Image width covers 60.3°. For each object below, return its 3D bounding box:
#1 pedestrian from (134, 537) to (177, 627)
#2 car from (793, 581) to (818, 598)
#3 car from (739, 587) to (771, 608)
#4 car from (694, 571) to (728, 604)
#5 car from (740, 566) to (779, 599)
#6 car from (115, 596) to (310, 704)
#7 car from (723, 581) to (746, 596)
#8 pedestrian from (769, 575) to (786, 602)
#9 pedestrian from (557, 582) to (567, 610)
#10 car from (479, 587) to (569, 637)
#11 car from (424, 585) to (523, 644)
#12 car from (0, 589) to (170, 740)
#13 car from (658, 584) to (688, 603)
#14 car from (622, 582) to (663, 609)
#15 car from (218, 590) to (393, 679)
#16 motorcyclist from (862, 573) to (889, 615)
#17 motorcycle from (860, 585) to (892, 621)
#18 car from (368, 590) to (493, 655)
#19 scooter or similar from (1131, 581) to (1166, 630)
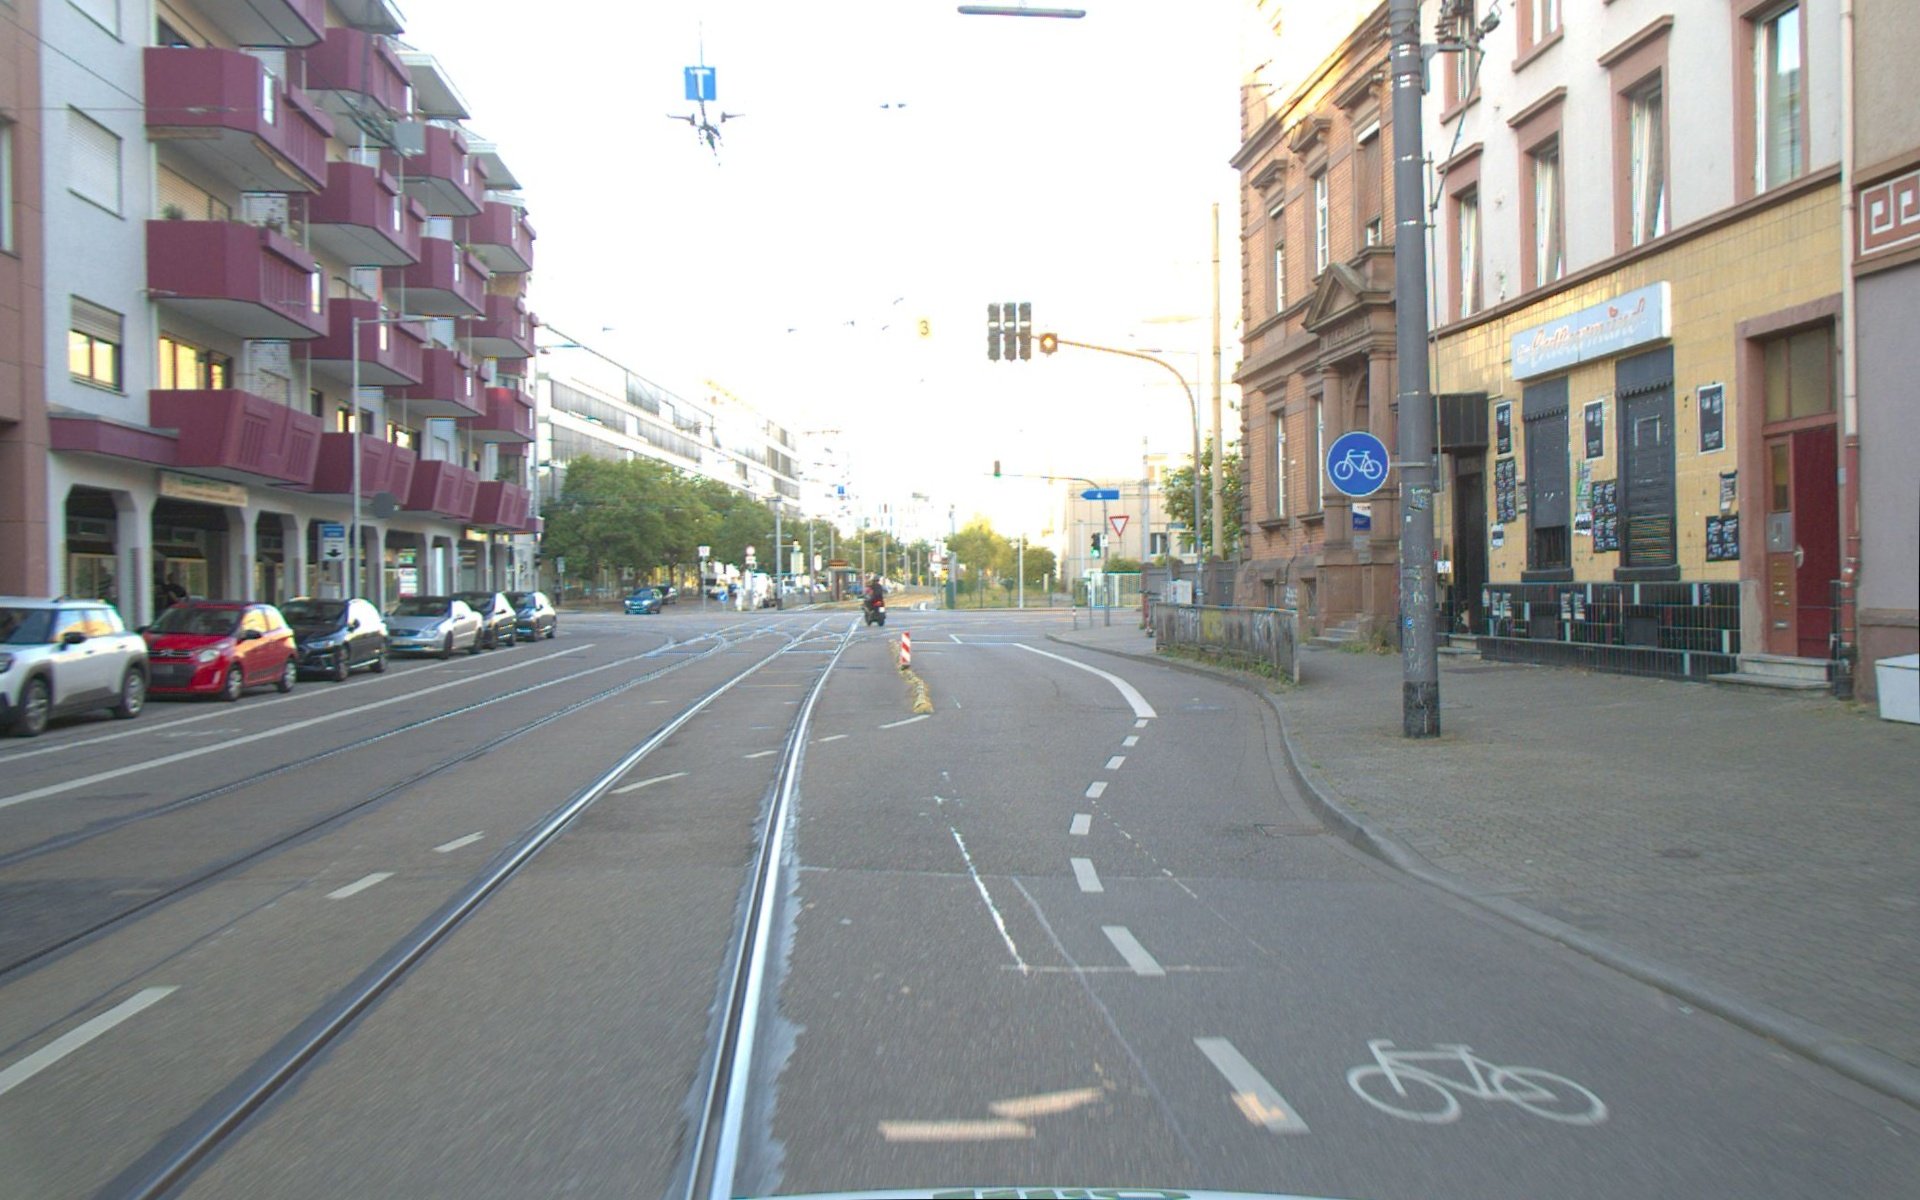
[{"bbox_3d":[-17.058,-0.380,35.084,0.601,1.905,0.528,-1,0,16],"label":"pedestrian"},{"bbox_3d":[-13.798,-0.930,147.664,1.647,1.464,4.127,-1,1,2],"label":"car"},{"bbox_3d":[-15.165,-0.190,122.452,1.647,1.464,4.127,-1,1,2],"label":"car"},{"bbox_3d":[-24.661,-1.286,164.098,2.155,3.207,6.145,-1,1,3],"label":"car"},{"bbox_3d":[-15.563,-1.368,128.449,2.411,2.526,5.807,-1,1,-1],"label":"car"},{"bbox_3d":[-11.478,0.723,25.628,1.579,1.505,3.477,1,0,-3],"label":"car"},{"bbox_3d":[-23.619,-1.252,173.428,1.647,1.528,4.241,-1,1,3],"label":"car"},{"bbox_3d":[-14.231,-0.905,128.987,1.026,2.066,0.976,-1,1,-25],"label":"pedestrian"},{"bbox_3d":[-28.810,-0.303,119.681,0.649,1.956,0.547,-1,1,-9],"label":"pedestrian"},{"bbox_3d":[-13.533,0.336,51.605,1.815,1.482,5.082,0,1,-4],"label":"car"},{"bbox_3d":[-13.390,0.358,45.734,1.753,1.534,4.197,1,0,-4],"label":"car"},{"bbox_3d":[-11.182,0.679,19.780,1.683,1.583,4.200,1,0,-4],"label":"car"},{"bbox_3d":[-24.647,-0.551,142.043,1.647,1.528,4.241,-1,1,3],"label":"car"},{"bbox_3d":[-21.460,-0.311,111.889,1.647,1.729,4.241,-1,1,4],"label":"car"},{"bbox_3d":[-12.278,0.591,31.324,1.955,1.505,4.475,1,0,-7],"label":"car"},{"bbox_3d":[-3.082,-0.225,60.443,0.813,1.499,1.204,-1,1,-11],"label":"motorcyclist"},{"bbox_3d":[-3.089,0.095,60.494,0.813,1.261,2.484,-1,1,-11],"label":"motorcycle"},{"bbox_3d":[-12.673,0.500,39.850,1.657,1.438,4.675,1,0,-2],"label":"car"},{"bbox_3d":[5.069,0.138,44.576,0.629,1.288,1.582,-2,1,-4],"label":"scooter or similar"}]
